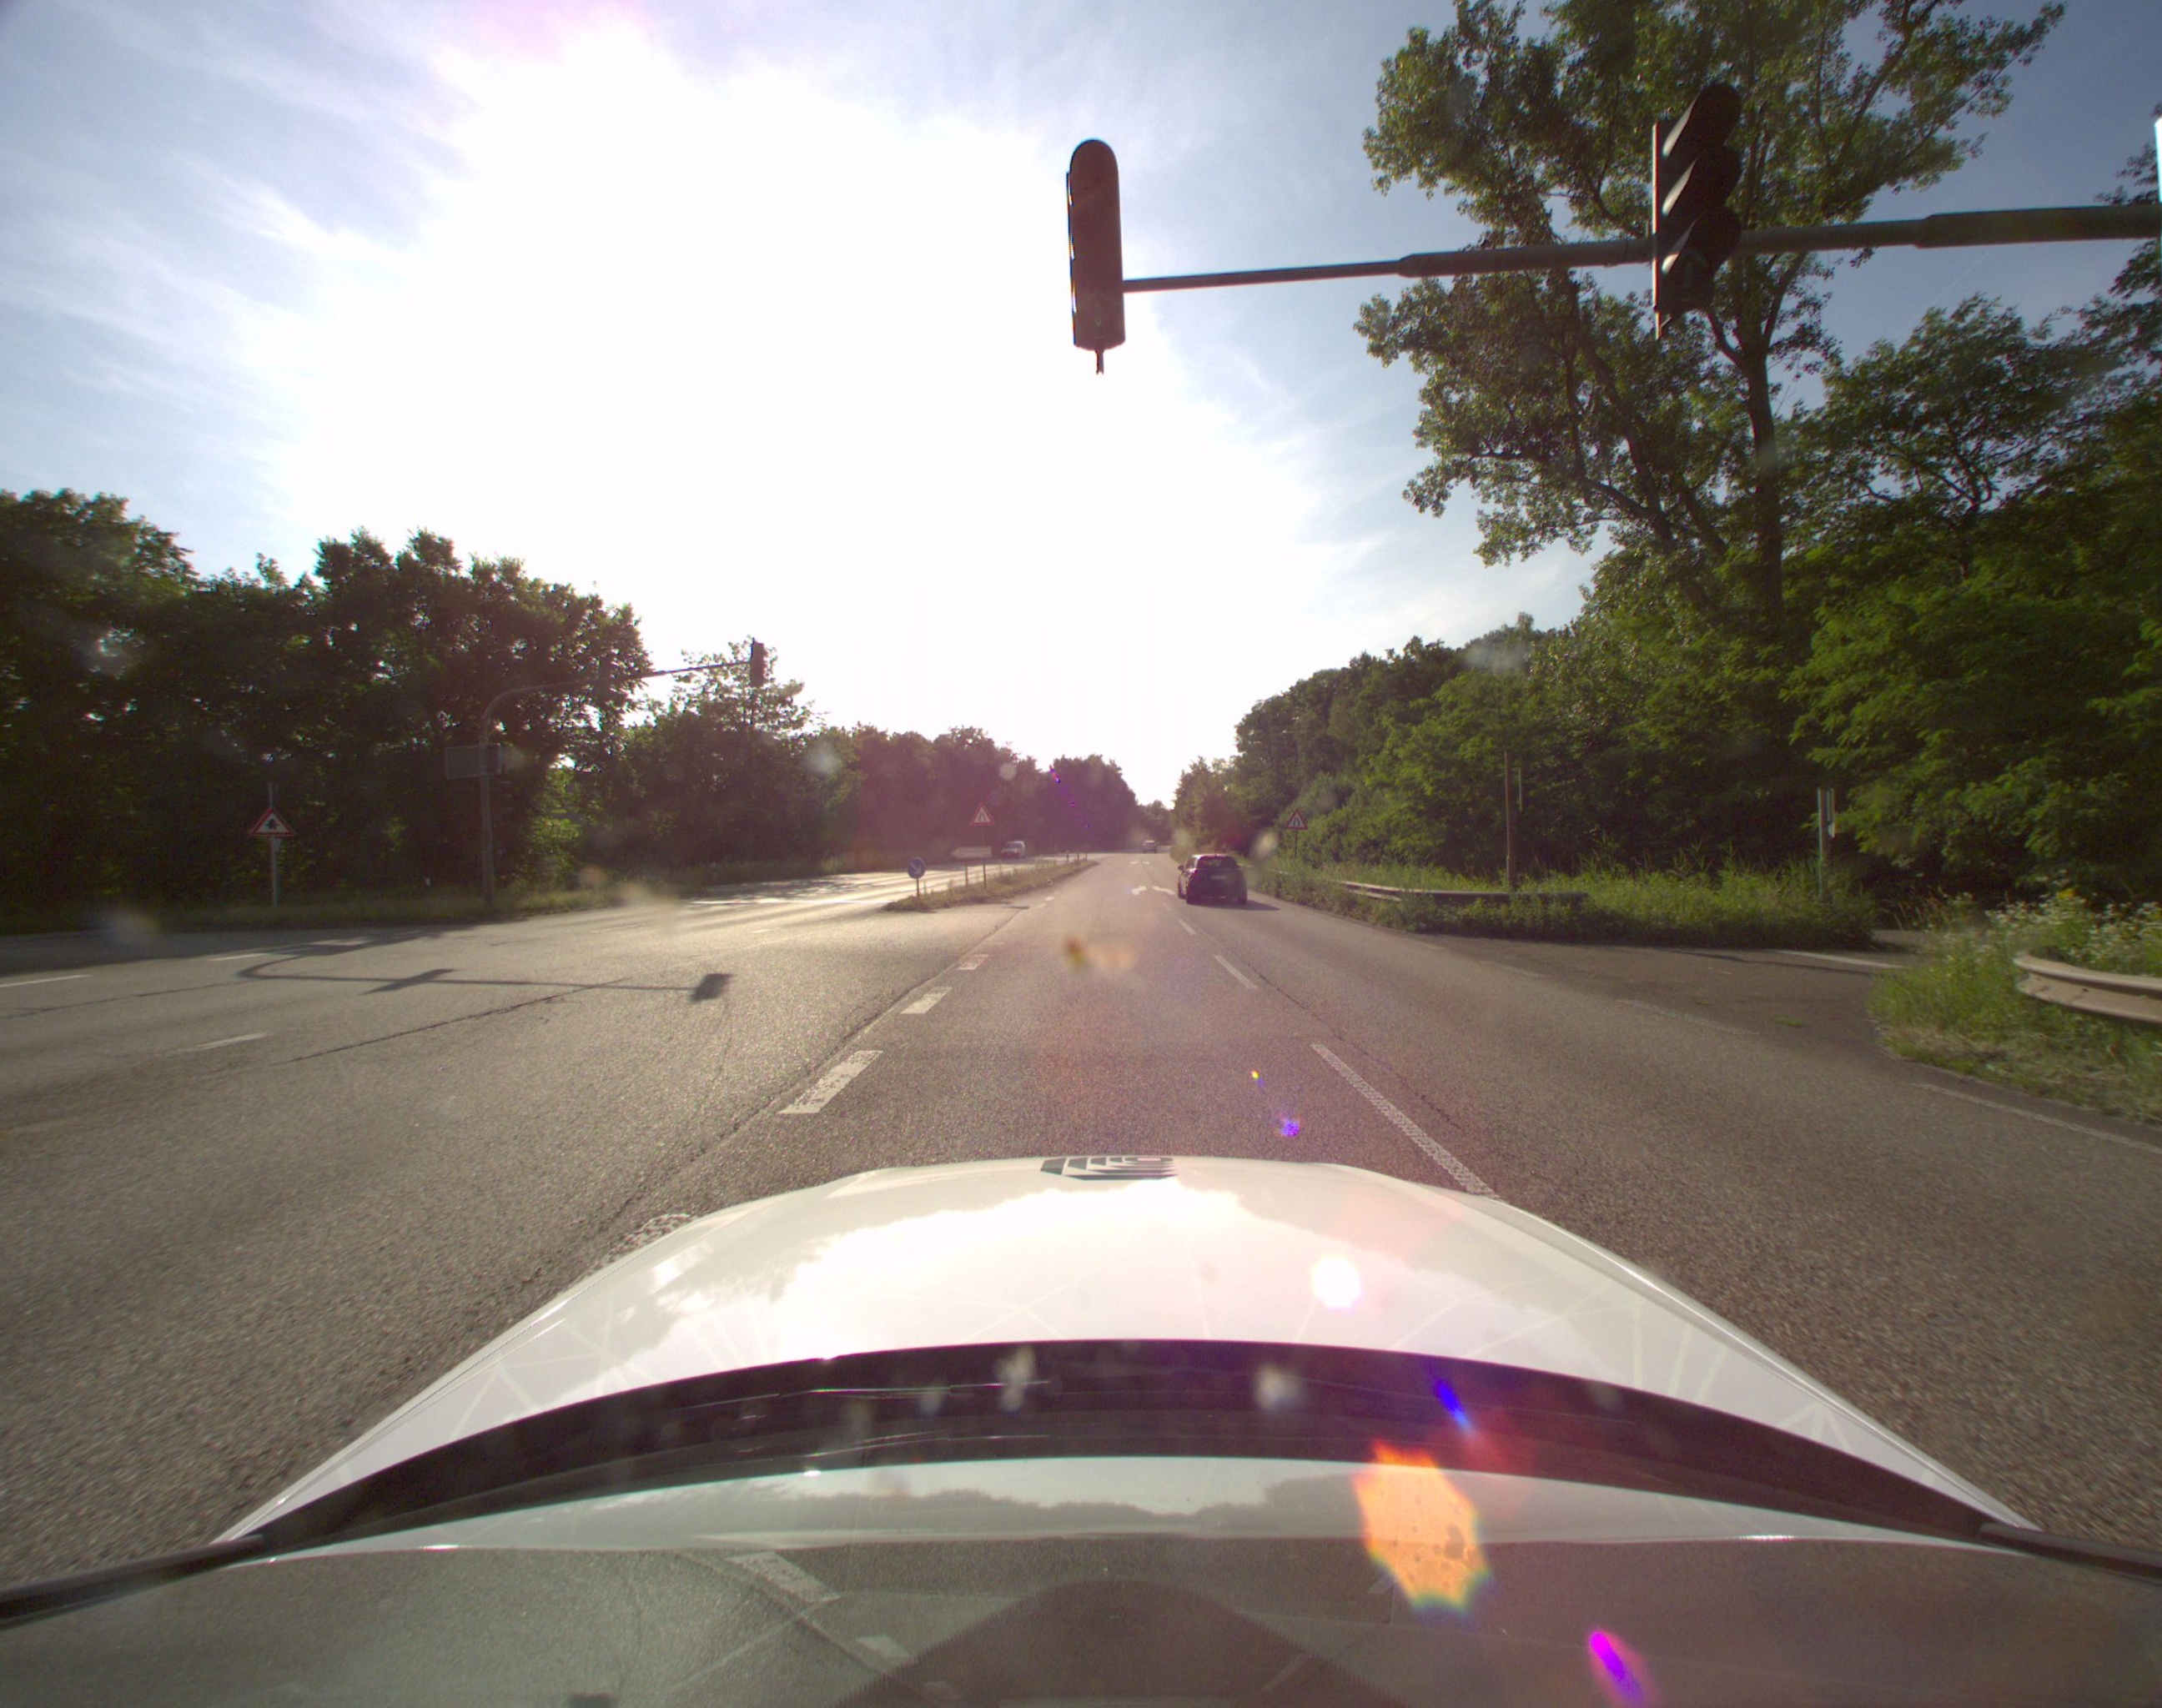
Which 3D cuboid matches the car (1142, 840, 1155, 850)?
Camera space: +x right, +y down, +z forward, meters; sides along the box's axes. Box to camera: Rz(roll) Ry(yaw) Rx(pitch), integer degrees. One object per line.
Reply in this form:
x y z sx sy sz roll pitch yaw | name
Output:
9.424 -1.258 113.285 1.753 1.380 3.977 0 0 6 | car

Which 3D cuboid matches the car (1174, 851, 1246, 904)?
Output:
3.840 0.664 24.758 1.812 1.468 3.876 0 0 4 | car

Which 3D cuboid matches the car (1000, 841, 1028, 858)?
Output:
-6.843 -0.449 83.954 1.840 1.786 4.681 0 0 8 | car
